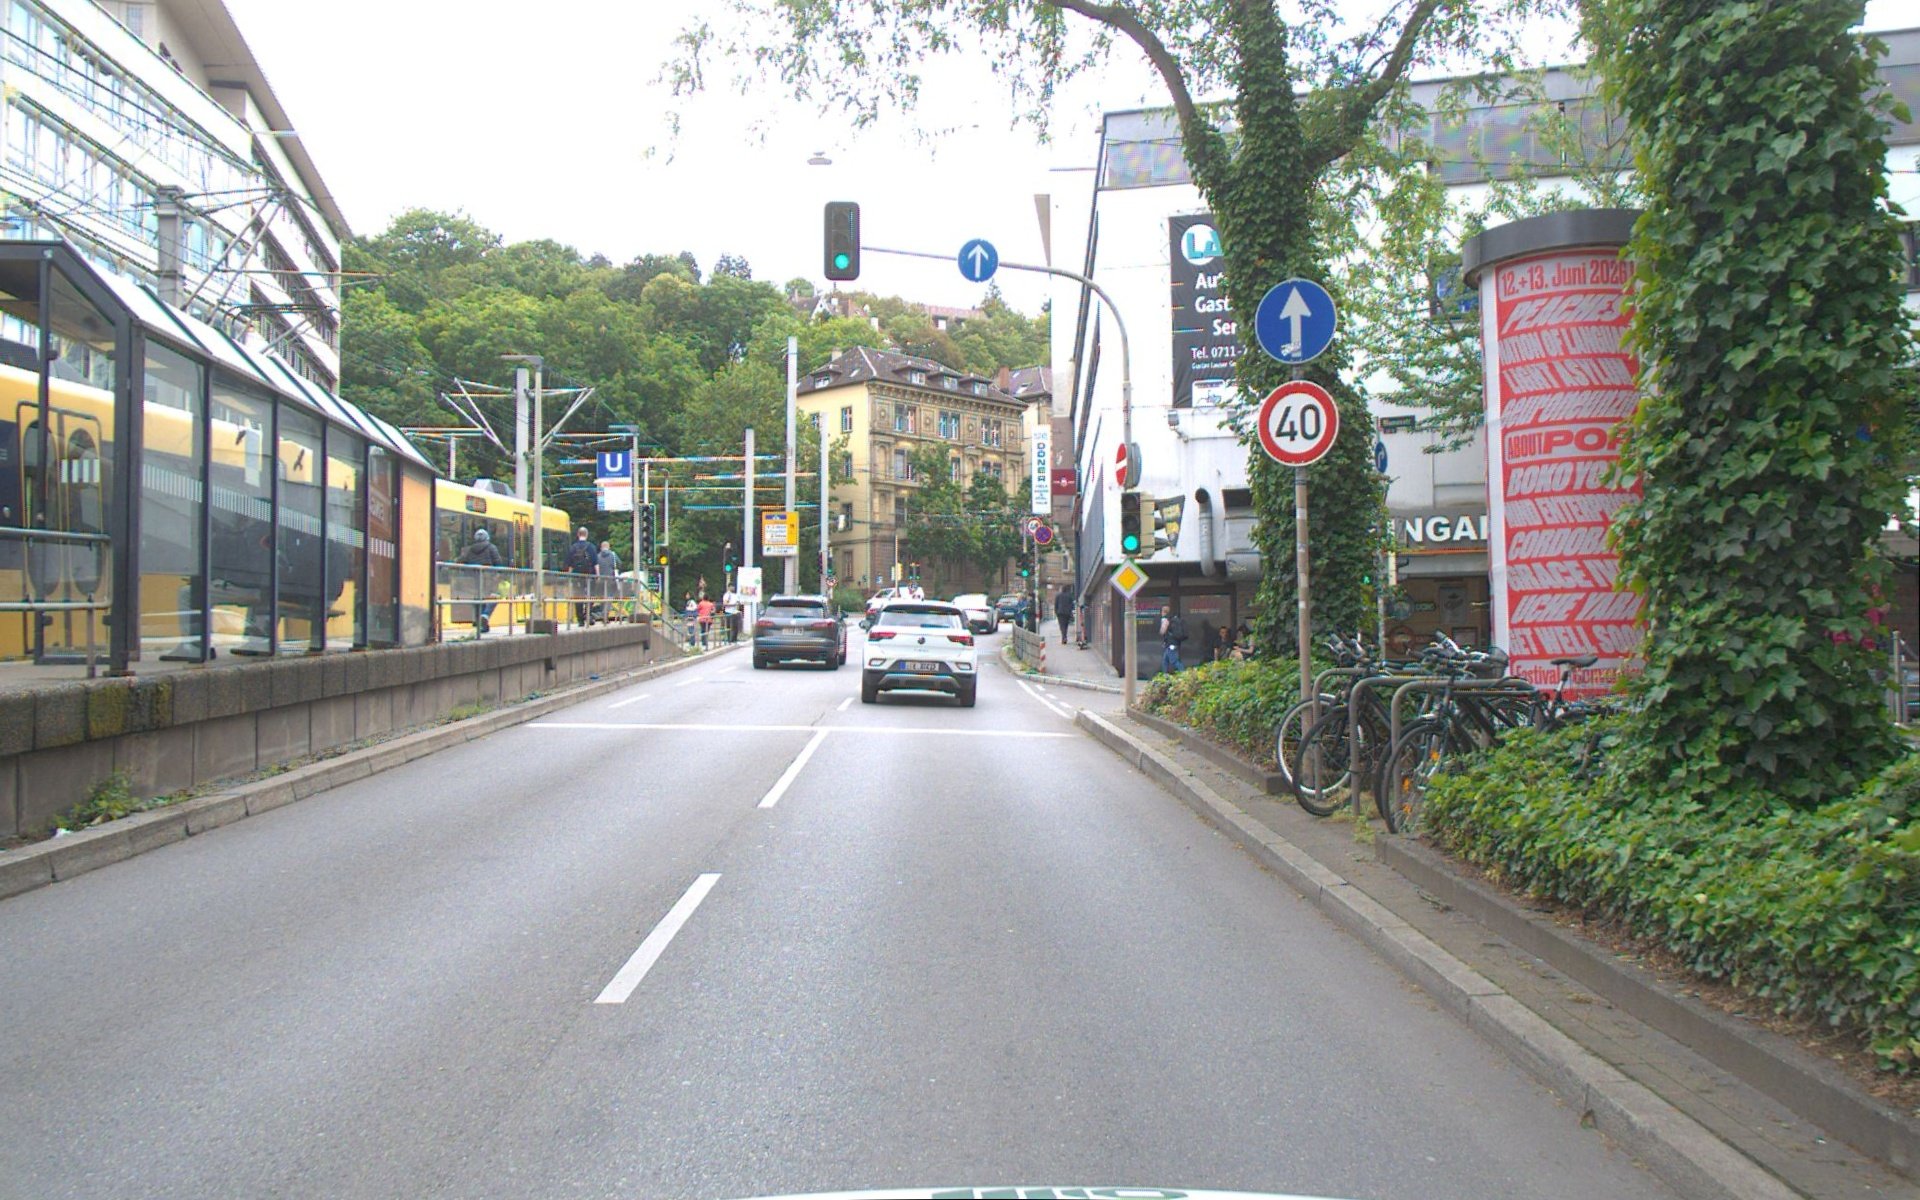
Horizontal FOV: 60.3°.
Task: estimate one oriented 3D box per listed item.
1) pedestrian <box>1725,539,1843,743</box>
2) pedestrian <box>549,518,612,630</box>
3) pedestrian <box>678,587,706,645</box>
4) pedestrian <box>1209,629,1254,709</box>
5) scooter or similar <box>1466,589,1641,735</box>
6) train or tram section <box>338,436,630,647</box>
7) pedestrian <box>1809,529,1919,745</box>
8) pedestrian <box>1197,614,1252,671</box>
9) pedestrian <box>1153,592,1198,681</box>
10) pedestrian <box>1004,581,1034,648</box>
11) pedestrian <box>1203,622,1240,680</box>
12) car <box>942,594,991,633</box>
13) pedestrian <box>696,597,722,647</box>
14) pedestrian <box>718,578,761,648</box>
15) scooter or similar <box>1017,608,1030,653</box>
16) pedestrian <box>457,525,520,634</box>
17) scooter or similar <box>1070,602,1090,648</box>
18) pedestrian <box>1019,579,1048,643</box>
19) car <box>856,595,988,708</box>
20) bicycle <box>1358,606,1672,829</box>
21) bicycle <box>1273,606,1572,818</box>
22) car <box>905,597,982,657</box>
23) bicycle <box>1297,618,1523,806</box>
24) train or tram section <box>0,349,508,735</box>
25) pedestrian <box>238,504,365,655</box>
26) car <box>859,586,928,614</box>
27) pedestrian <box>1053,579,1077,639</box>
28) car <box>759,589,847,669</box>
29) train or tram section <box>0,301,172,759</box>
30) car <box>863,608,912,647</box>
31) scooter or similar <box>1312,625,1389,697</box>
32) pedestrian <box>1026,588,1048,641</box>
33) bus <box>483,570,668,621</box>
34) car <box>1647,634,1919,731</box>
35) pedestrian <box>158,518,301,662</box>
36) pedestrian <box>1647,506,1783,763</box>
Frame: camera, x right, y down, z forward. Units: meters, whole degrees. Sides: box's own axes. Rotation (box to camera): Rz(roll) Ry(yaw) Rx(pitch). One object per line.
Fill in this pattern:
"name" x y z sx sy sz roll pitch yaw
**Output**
"pedestrian" 6.459 0.311 12.985 0.610 1.549 0.664 1 0 4
"pedestrian" -7.096 -0.468 30.949 0.910 2.004 1.233 -1 -3 -1
"pedestrian" -7.875 0.464 48.595 0.662 1.653 1.000 -1 0 -2
"pedestrian" 3.394 0.869 20.717 0.474 0.926 0.583 1 -9 2
"scooter or similar" 5.408 0.570 15.103 1.362 1.276 0.629 -2 -2 34
"train or tram section" -10.186 -1.242 37.631 2.824 3.727 14.471 -3 1 -2
"pedestrian" 7.376 0.296 13.453 0.610 1.709 0.664 -1 -1 4
"pedestrian" 5.747 0.914 35.912 1.082 1.209 0.743 1 0 17
"pedestrian" 4.455 0.744 34.235 0.707 1.817 0.882 1 -1 -8
"pedestrian" 1.876 0.452 52.331 0.927 2.099 0.779 -1 0 3
"pedestrian" 5.801 1.116 36.706 0.719 1.257 0.718 1 0 15
"car" 0.288 0.547 67.390 1.898 1.532 3.806 0 0 1
"pedestrian" -7.799 0.695 51.389 0.564 1.490 0.676 -3 -4 18
"pedestrian" -6.864 0.419 51.408 0.945 2.103 1.032 -3 -4 18
"scooter or similar" 1.851 0.887 48.404 0.346 1.298 0.814 0 0 2
"pedestrian" -7.123 -0.306 25.005 0.762 1.612 0.665 -1 0 -1
"scooter or similar" 3.475 0.712 47.869 0.418 1.298 0.981 -1 0 13
"pedestrian" 2.271 0.335 51.042 0.722 1.825 0.655 -4 -10 3
"car" -0.585 0.753 26.121 1.899 1.594 4.045 1 0 -1
"bicycle" 3.213 0.658 9.622 1.654 1.243 0.541 0 0 -6
"bicycle" 2.876 0.674 10.341 1.706 1.243 0.541 -1 0 -6
"car" -0.420 0.737 46.366 1.863 1.601 3.836 1 0 3
"bicycle" 3.109 0.763 11.478 1.393 1.243 0.541 1 0 -6
"train or tram section" -9.583 -0.695 23.405 2.824 3.727 14.225 -3 1 -2
"pedestrian" -6.078 -0.184 15.313 0.833 1.329 0.778 -2 0 -1
"car" -4.787 0.024 119.868 4.953 1.882 1.968 2 -2 -44
"pedestrian" 3.261 0.270 51.225 0.711 1.840 0.654 1 0 3
"car" -3.610 0.641 38.616 1.802 1.770 3.998 0 0 -2
"train or tram section" -9.030 -0.423 9.182 2.824 3.727 14.225 -3 1 -2
"car" -2.968 1.100 67.975 1.899 1.532 3.805 0 0 -1
"scooter or similar" 7.958 1.240 33.723 1.363 1.373 0.595 4 -1 -14
"pedestrian" 2.539 0.484 54.779 0.550 1.680 0.591 -6 0 2
"bus" -24.954 -0.277 107.437 11.265 3.082 3.393 -1 0 13
"car" 13.398 1.293 26.140 4.481 1.381 1.762 1 -2 15
"pedestrian" -6.157 -0.080 13.974 0.833 1.162 0.778 -2 0 -1
"pedestrian" 5.865 0.255 12.884 0.690 1.923 0.880 1 0 5
